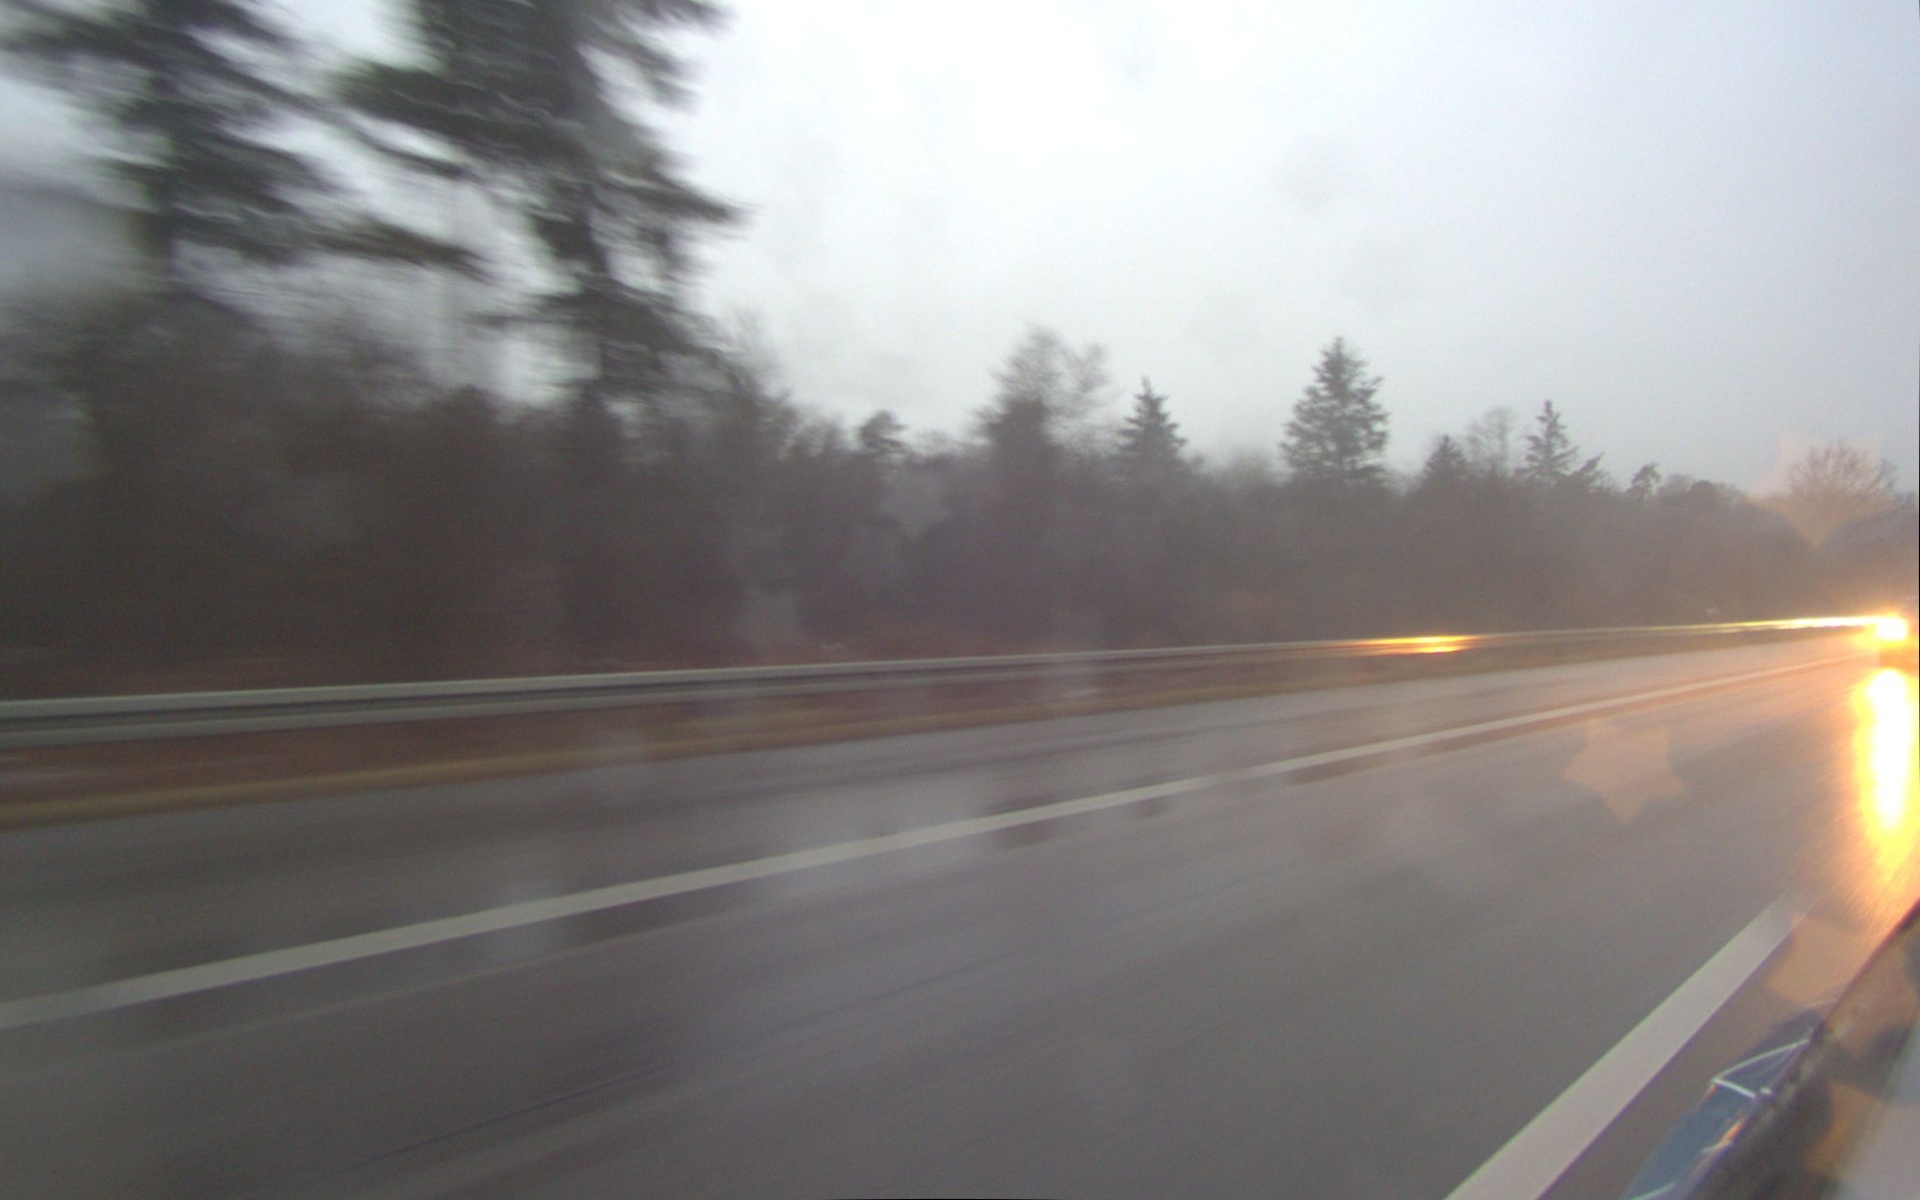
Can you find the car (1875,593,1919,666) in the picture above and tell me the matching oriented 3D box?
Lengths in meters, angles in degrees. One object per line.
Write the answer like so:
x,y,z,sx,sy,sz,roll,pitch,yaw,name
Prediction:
24.613,0.698,25.227,4.381,1.719,2.075,0,0,-39,car
